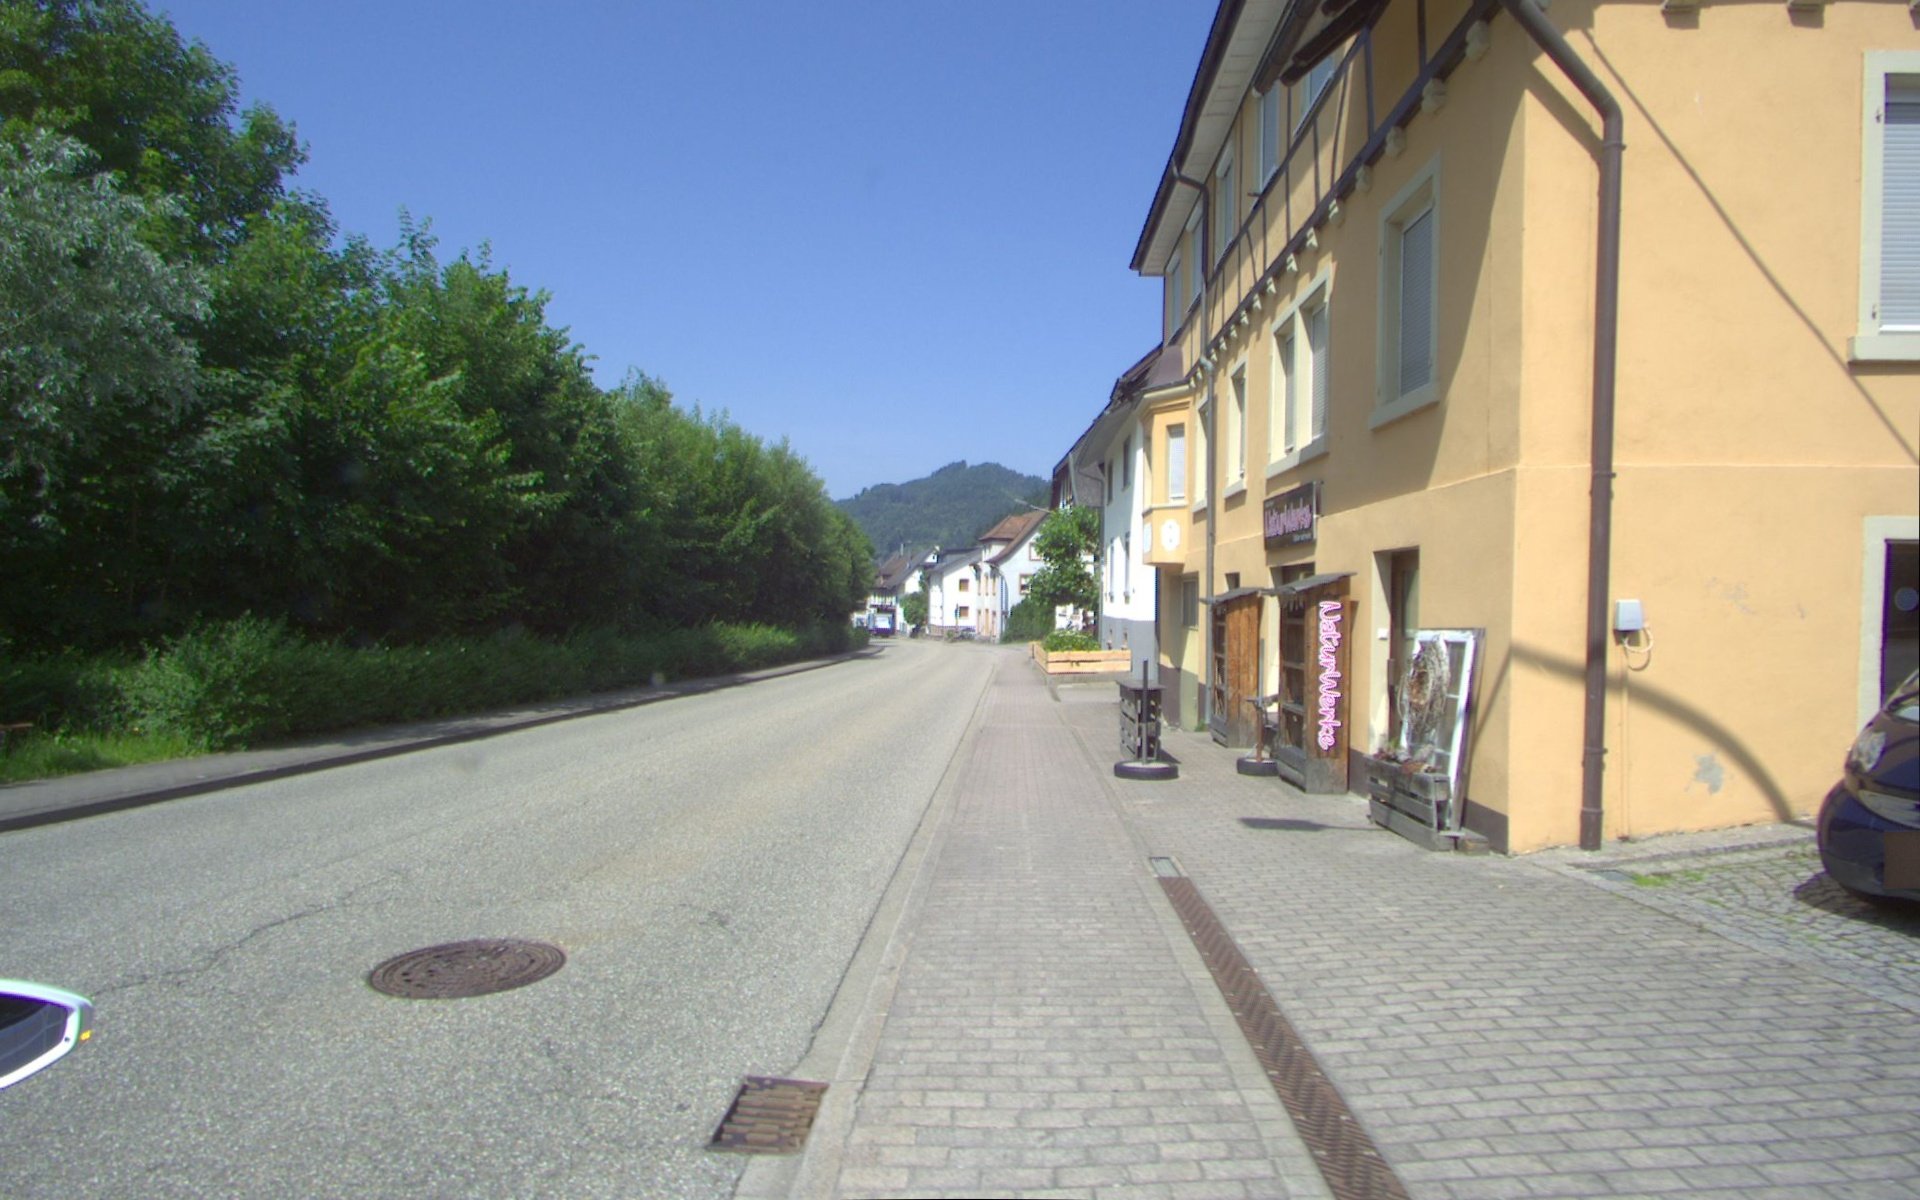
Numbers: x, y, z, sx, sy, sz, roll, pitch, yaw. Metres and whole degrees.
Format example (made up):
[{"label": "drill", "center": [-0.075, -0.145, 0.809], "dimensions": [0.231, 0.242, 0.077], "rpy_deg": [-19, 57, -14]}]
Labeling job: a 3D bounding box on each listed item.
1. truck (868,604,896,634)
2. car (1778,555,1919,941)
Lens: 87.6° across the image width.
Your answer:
[{"label": "truck", "center": [-11.113, 2.816, 142.059], "dimensions": [3.310, 3.829, 8.441], "rpy_deg": [-3, -2, -9]}, {"label": "car", "center": [5.130, 0.480, 3.889], "dimensions": [2.611, 1.555, 1.426], "rpy_deg": [-5, -2, -1]}]
